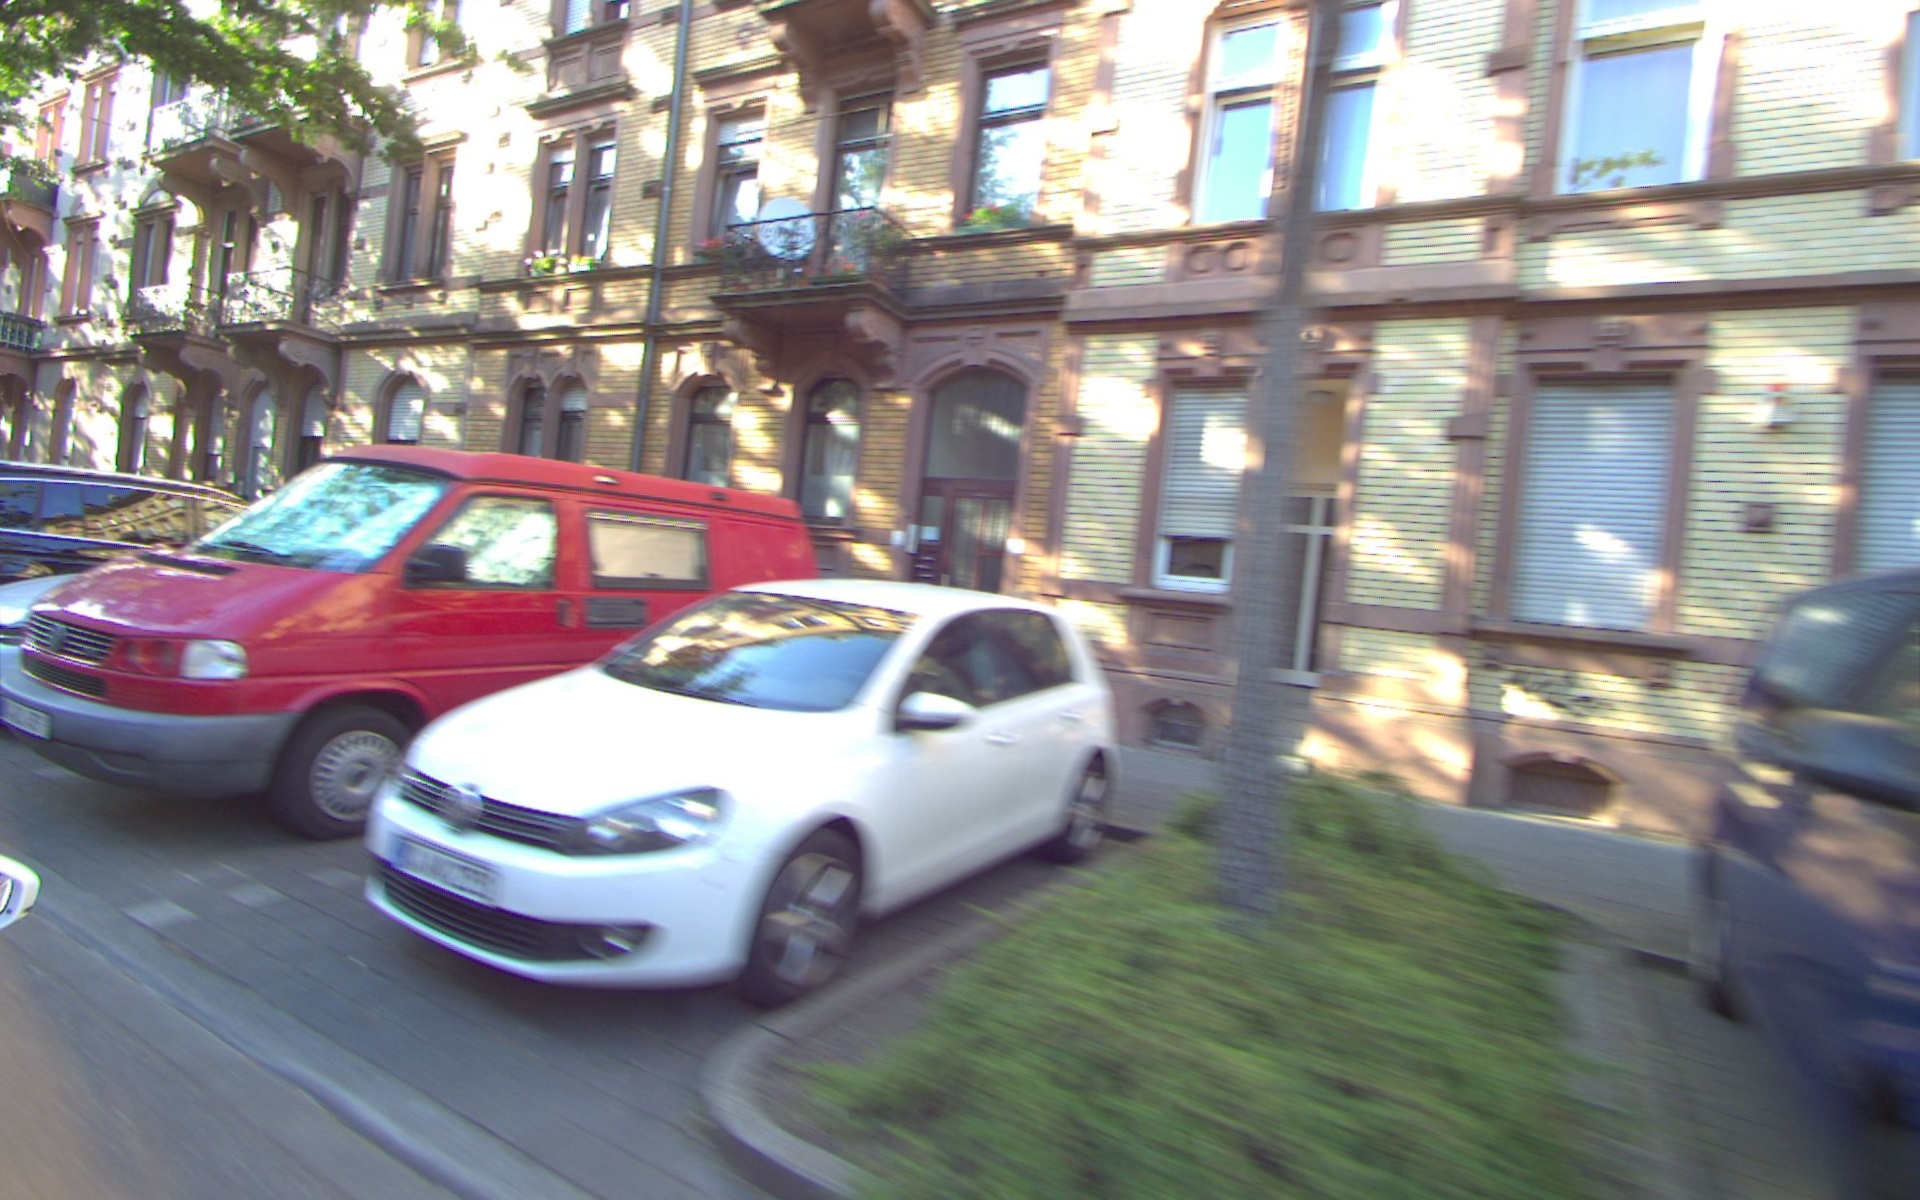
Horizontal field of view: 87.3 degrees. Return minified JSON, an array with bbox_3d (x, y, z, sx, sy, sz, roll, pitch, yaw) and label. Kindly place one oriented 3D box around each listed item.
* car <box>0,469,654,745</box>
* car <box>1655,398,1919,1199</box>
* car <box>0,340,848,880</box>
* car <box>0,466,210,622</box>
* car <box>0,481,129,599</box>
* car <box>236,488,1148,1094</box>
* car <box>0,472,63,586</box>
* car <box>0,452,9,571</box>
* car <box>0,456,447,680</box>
[{"bbox_3d":[-4.942,0.063,7.958,1.848,1.534,4.677,6,1,32],"label":"car"},{"bbox_3d":[3.512,0.844,2.850,1.959,2.241,5.030,6,-1,31],"label":"car"},{"bbox_3d":[-2.913,0.061,6.318,1.847,2.059,4.679,6,1,29],"label":"car"},{"bbox_3d":[-11.233,-0.708,11.349,1.774,1.648,4.015,6,1,28],"label":"car"},{"bbox_3d":[-13.278,-0.877,12.619,1.764,1.453,4.013,6,2,29],"label":"car"},{"bbox_3d":[-0.713,0.539,4.852,1.847,1.529,4.058,6,1,30],"label":"car"},{"bbox_3d":[-15.350,-1.167,13.661,1.818,1.577,4.347,8,3,29],"label":"car"},{"bbox_3d":[-17.526,-1.608,15.015,1.818,1.950,4.448,8,3,27],"label":"car"},{"bbox_3d":[-7.141,-0.253,8.941,1.808,1.648,4.187,6,1,33],"label":"car"}]
